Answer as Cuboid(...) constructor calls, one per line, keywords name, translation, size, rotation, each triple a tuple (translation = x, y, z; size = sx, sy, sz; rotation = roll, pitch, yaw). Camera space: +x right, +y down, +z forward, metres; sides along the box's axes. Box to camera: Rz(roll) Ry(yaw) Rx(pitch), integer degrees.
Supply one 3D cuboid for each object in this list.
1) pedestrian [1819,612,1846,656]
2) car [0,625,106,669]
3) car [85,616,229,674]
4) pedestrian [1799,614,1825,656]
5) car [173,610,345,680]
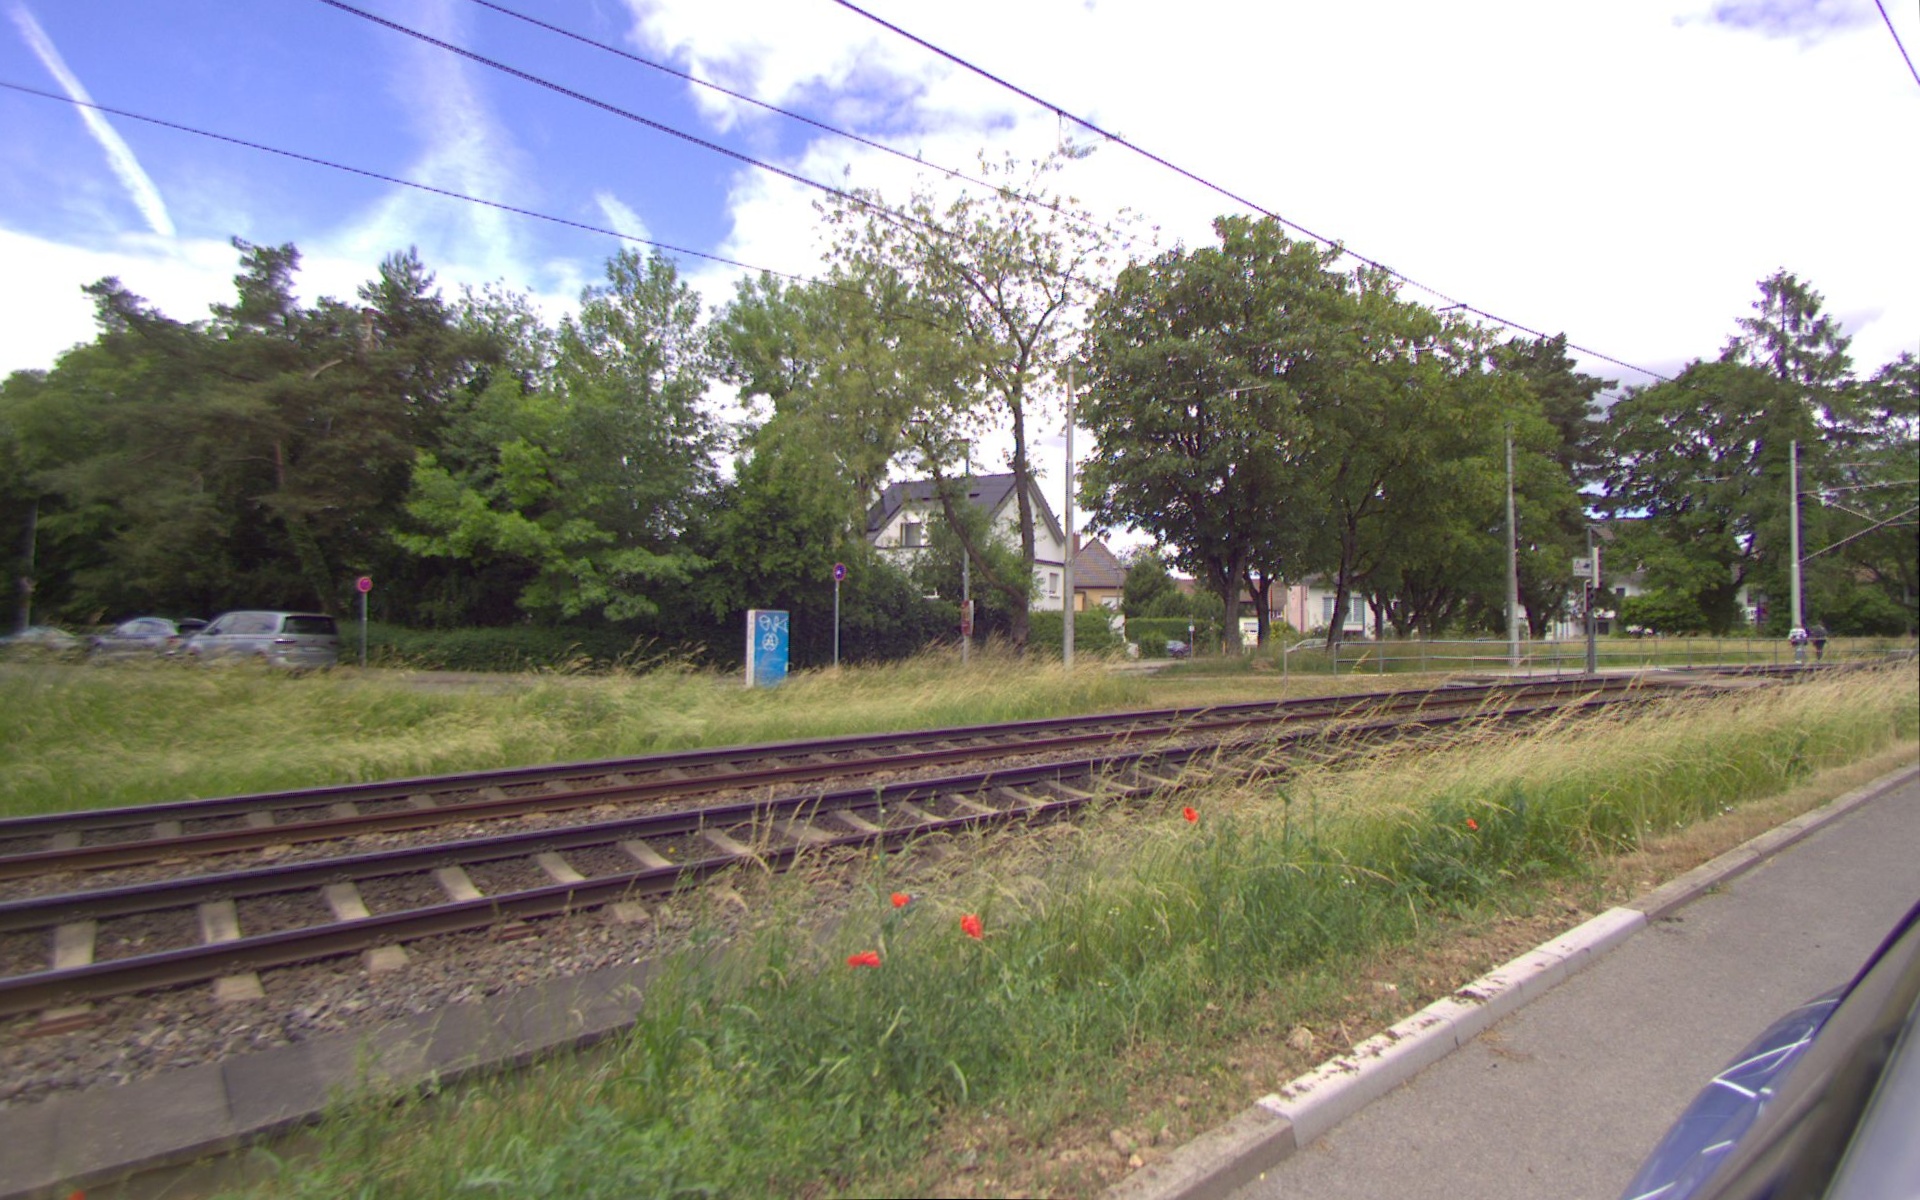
Cuboid(name="pedestrian", translation=(32.674, 1.277, 37.894), size=(0.774, 1.643, 0.494), rotation=(1, -3, -29))
Cuboid(name="car", translation=(-30.293, 1.527, 33.546), size=(3.484, 1.351, 1.661), rotation=(0, -1, 23))
Cuboid(name="car", translation=(-25.079, 1.356, 31.598), size=(4.148, 1.700, 1.757), rotation=(0, -1, 23))
Cuboid(name="pedestrian", translation=(32.302, 1.331, 38.374), size=(0.678, 1.582, 0.494), rotation=(1, -3, -29))
Cuboid(name="car", translation=(-20.320, 1.250, 29.335), size=(4.659, 1.885, 1.902), rotation=(0, -1, 23))
